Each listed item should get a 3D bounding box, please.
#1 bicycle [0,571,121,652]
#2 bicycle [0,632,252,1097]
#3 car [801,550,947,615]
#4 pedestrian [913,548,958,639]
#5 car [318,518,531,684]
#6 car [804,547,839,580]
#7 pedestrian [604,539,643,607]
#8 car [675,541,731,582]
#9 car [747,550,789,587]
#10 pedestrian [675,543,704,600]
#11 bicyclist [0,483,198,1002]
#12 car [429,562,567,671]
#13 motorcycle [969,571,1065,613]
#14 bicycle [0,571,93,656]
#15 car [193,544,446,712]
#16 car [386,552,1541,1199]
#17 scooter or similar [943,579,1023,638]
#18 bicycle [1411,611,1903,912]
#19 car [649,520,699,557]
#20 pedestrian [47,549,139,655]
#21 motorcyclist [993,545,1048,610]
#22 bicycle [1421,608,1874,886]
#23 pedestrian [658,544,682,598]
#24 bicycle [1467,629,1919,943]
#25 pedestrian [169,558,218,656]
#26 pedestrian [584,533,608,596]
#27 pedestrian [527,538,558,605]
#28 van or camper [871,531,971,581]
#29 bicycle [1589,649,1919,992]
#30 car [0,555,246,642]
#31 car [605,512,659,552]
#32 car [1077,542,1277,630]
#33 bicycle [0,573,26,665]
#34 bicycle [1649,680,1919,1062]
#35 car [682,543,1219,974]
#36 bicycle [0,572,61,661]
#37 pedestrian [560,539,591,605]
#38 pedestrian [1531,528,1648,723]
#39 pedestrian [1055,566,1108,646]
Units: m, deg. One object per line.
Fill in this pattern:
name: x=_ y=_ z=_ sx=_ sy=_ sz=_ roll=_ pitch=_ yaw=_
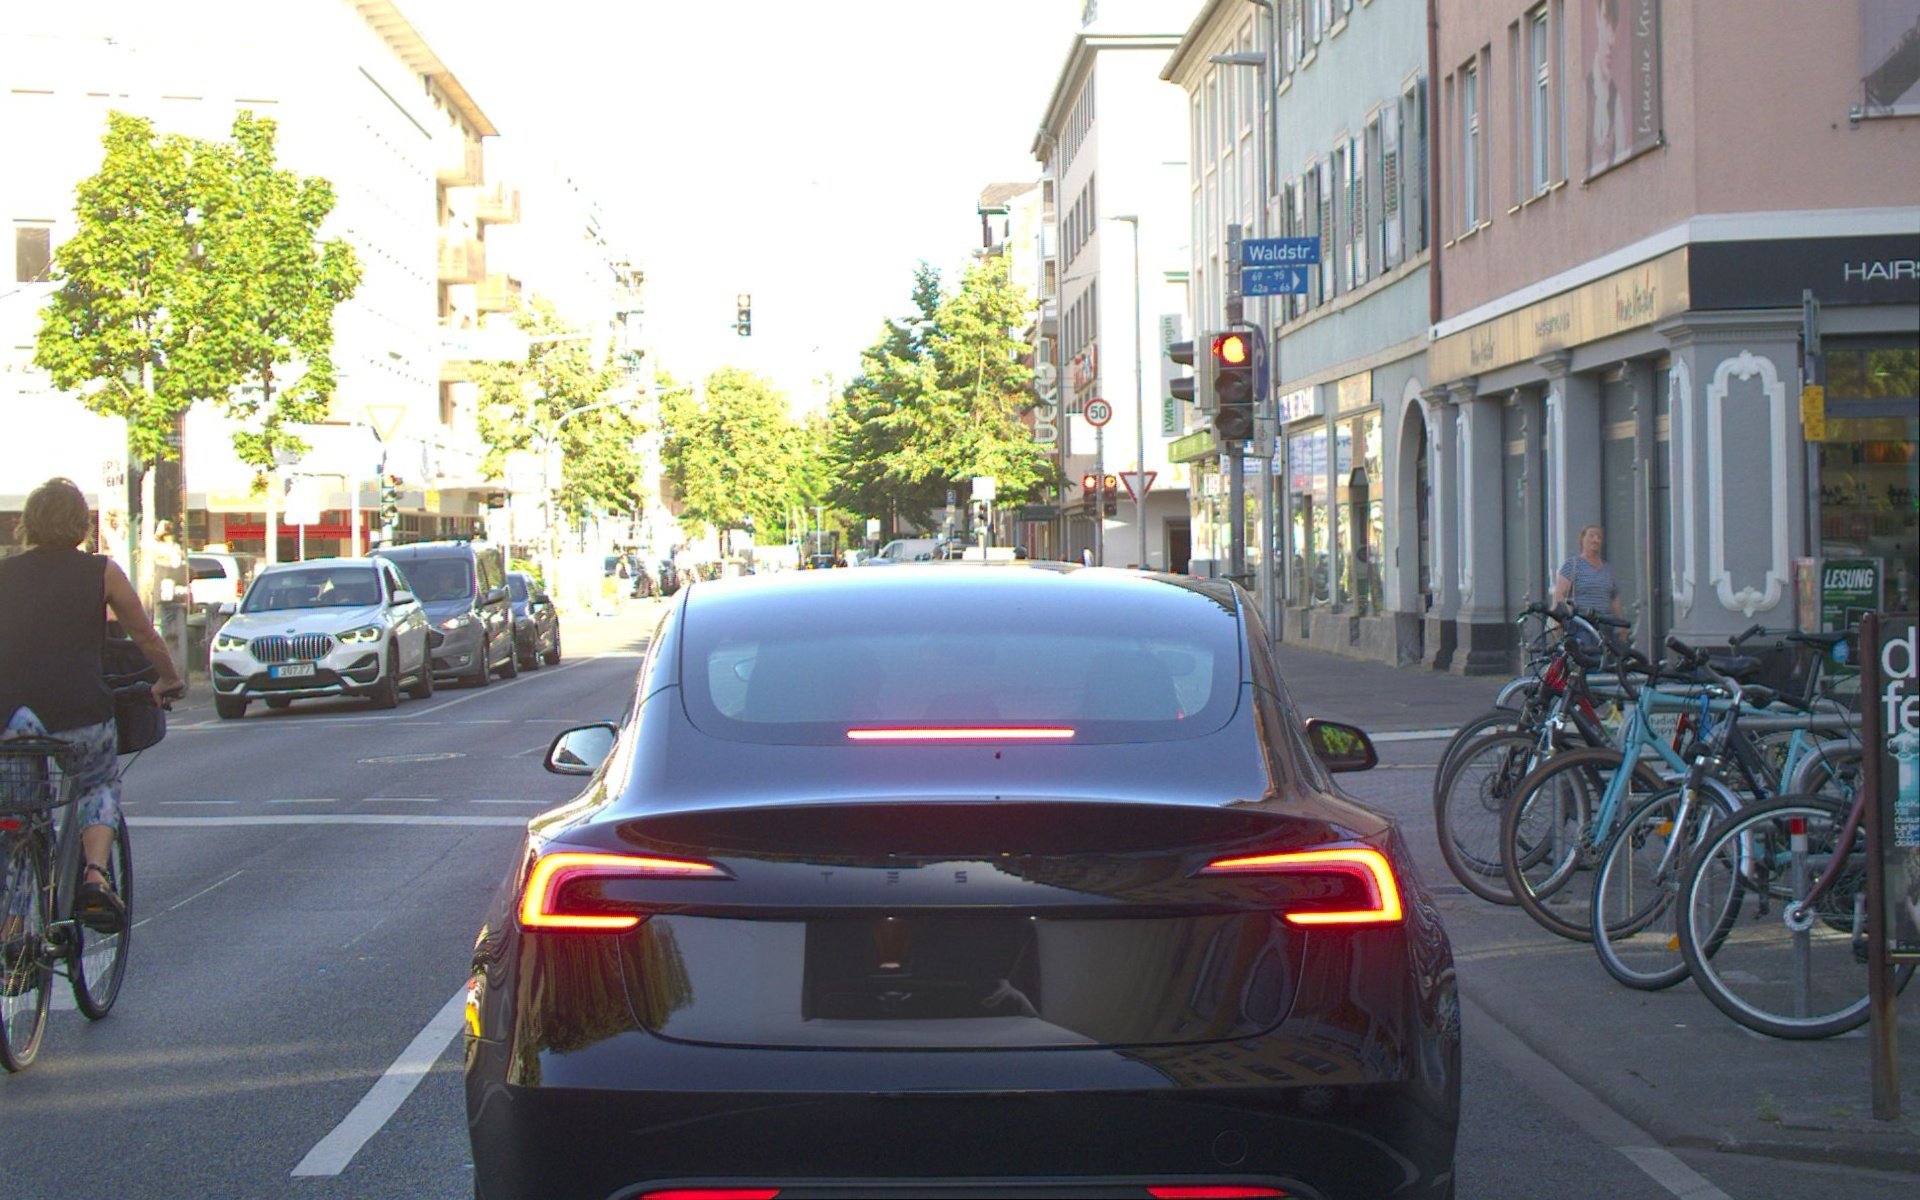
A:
bicycle: x=-14.695 y=0.167 z=54.562 sx=2.542 sy=1.247 sz=0.943 roll=1 pitch=0 yaw=-3
bicycle: x=-2.683 y=0.733 z=10.408 sx=0.628 sy=1.219 sz=2.001 roll=1 pitch=1 yaw=1
car: x=-2.465 y=-0.514 z=97.654 sx=2.036 sy=1.782 sz=4.004 roll=-1 pitch=1 yaw=-42
pedestrian: x=-0.477 y=-0.136 z=66.772 sx=0.658 sy=1.754 sz=0.654 roll=1 pitch=0 yaw=-24
car: x=-6.573 y=-0.031 z=42.661 sx=1.945 sy=1.940 sz=4.820 roll=0 pitch=1 yaw=-1
car: x=-7.721 y=-2.043 z=191.907 sx=1.892 sy=1.807 sz=3.925 roll=1 pitch=1 yaw=-2
pedestrian: x=-9.269 y=-0.750 z=94.752 sx=0.734 sy=1.861 sz=0.789 roll=1 pitch=0 yaw=28
car: x=-12.401 y=-1.870 z=166.449 sx=2.414 sy=1.963 sz=4.678 roll=0 pitch=1 yaw=-1
car: x=-10.450 y=-1.742 z=187.131 sx=2.132 sy=1.963 sz=4.134 roll=0 pitch=1 yaw=-1
pedestrian: x=-9.041 y=-0.948 z=114.727 sx=0.774 sy=1.861 sz=1.009 roll=1 pitch=0 yaw=-15
bicyclist: x=-2.706 y=0.400 z=10.307 sx=0.606 sy=1.479 sz=0.958 roll=1 pitch=0 yaw=1
car: x=-6.655 y=0.210 z=49.794 sx=1.461 sy=1.425 sz=3.606 roll=-4 pitch=1 yaw=-1
motorcycle: x=1.443 y=-0.204 z=86.649 sx=2.378 sy=1.032 sz=0.783 roll=0 pitch=1 yaw=-34
bicycle: x=-14.534 y=0.194 z=52.137 sx=2.542 sy=1.247 sz=0.943 roll=1 pitch=0 yaw=-3
car: x=-6.687 y=0.259 z=36.338 sx=1.825 sy=1.559 sz=4.301 roll=-4 pitch=1 yaw=-1
car: x=-0.022 y=0.634 z=7.772 sx=1.850 sy=1.442 sz=4.452 roll=1 pitch=1 yaw=-1
scooter or similar: x=0.441 y=0.174 z=67.220 sx=1.333 sy=1.131 sz=0.810 roll=1 pitch=0 yaw=-24
bicycle: x=2.733 y=0.626 z=13.600 sx=1.813 sy=1.148 sz=0.653 roll=0 pitch=1 yaw=1
car: x=-15.657 y=-3.357 z=188.278 sx=2.275 sy=2.007 sz=4.717 roll=1 pitch=1 yaw=1
pedestrian: x=-13.448 y=0.024 z=53.362 sx=1.092 sy=1.606 sz=1.266 roll=1 pitch=0 yaw=0
motorcyclist: x=1.529 y=-0.573 z=86.690 sx=1.109 sy=1.627 sz=0.776 roll=1 pitch=0 yaw=-34
bicycle: x=2.924 y=0.617 z=14.735 sx=1.813 sy=1.148 sz=0.653 roll=0 pitch=1 yaw=1
pedestrian: x=-9.959 y=-0.995 z=118.041 sx=0.694 sy=1.861 sz=0.910 roll=1 pitch=0 yaw=-12
bicycle: x=2.802 y=0.662 z=12.527 sx=1.813 sy=1.098 sz=0.653 roll=0 pitch=1 yaw=1
pedestrian: x=-13.888 y=0.119 z=62.286 sx=0.844 sy=1.754 sz=0.707 roll=1 pitch=0 yaw=-14
pedestrian: x=-10.999 y=-1.071 z=103.876 sx=0.695 sy=1.861 sz=0.659 roll=1 pitch=0 yaw=-5
pedestrian: x=-11.760 y=-0.807 z=96.864 sx=0.732 sy=1.861 sz=0.791 roll=1 pitch=0 yaw=-17
van or camper: x=-1.907 y=-2.133 z=167.546 sx=4.850 sy=2.430 sz=1.851 roll=0 pitch=1 yaw=-1
bicycle: x=3.002 y=0.698 z=11.120 sx=1.813 sy=1.056 sz=0.653 roll=0 pitch=1 yaw=1
car: x=-18.499 y=-0.063 z=75.691 sx=5.195 sy=1.860 sz=1.884 roll=0 pitch=1 yaw=-22
car: x=-17.132 y=-3.537 z=179.639 sx=2.275 sy=2.007 sz=4.717 roll=1 pitch=1 yaw=1
car: x=4.707 y=-0.320 z=74.673 sx=3.992 sy=1.861 sz=1.698 roll=0 pitch=1 yaw=-21
bicycle: x=-14.487 y=0.240 z=47.543 sx=2.875 sy=1.266 sz=0.943 roll=1 pitch=0 yaw=-3
bicycle: x=3.028 y=0.765 z=10.048 sx=1.882 sy=1.040 sz=0.653 roll=-1 pitch=1 yaw=1
car: x=-0.058 y=0.529 z=14.196 sx=1.850 sy=1.476 sz=4.452 roll=1 pitch=1 yaw=-1
bicycle: x=-14.489 y=0.222 z=49.862 sx=2.662 sy=1.255 sz=0.943 roll=1 pitch=0 yaw=-3
pedestrian: x=-10.875 y=-0.798 z=97.198 sx=0.732 sy=1.861 sz=0.791 roll=1 pitch=0 yaw=-17
pedestrian: x=5.083 y=0.202 z=27.787 sx=0.789 sy=1.544 sz=0.724 roll=1 pitch=0 yaw=0
pedestrian: x=2.465 y=0.111 z=69.748 sx=0.806 sy=1.604 sz=0.709 roll=0 pitch=1 yaw=-37
